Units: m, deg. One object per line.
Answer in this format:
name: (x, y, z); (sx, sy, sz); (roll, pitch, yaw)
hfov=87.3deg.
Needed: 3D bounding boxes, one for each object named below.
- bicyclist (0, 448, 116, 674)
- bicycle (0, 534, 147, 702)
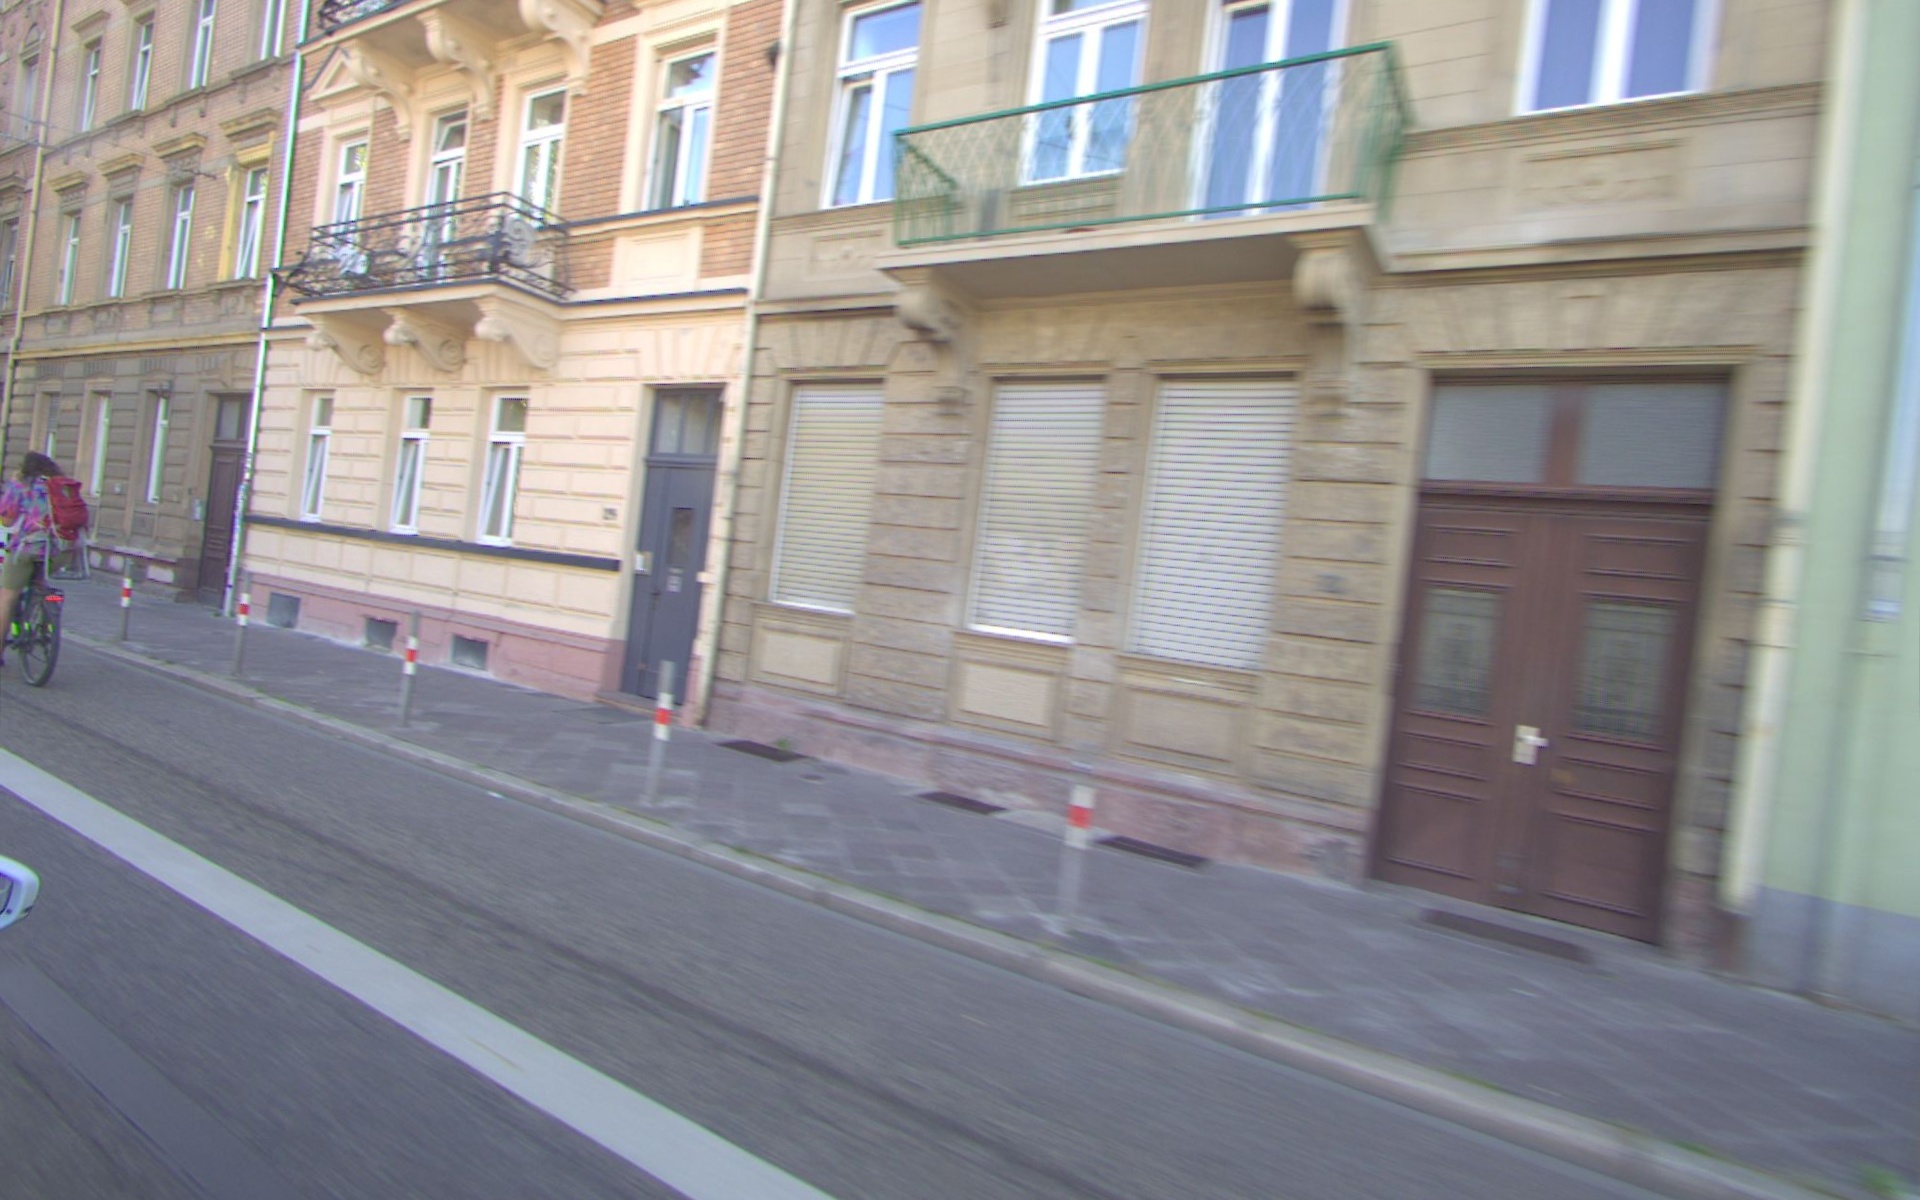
bicyclist: (-7.672, -0.325, 8.262); (1.026, 1.716, 0.668); (6, -2, 32)
bicycle: (-7.725, 0.067, 8.257); (2.662, 1.127, 0.682); (7, -2, 32)
